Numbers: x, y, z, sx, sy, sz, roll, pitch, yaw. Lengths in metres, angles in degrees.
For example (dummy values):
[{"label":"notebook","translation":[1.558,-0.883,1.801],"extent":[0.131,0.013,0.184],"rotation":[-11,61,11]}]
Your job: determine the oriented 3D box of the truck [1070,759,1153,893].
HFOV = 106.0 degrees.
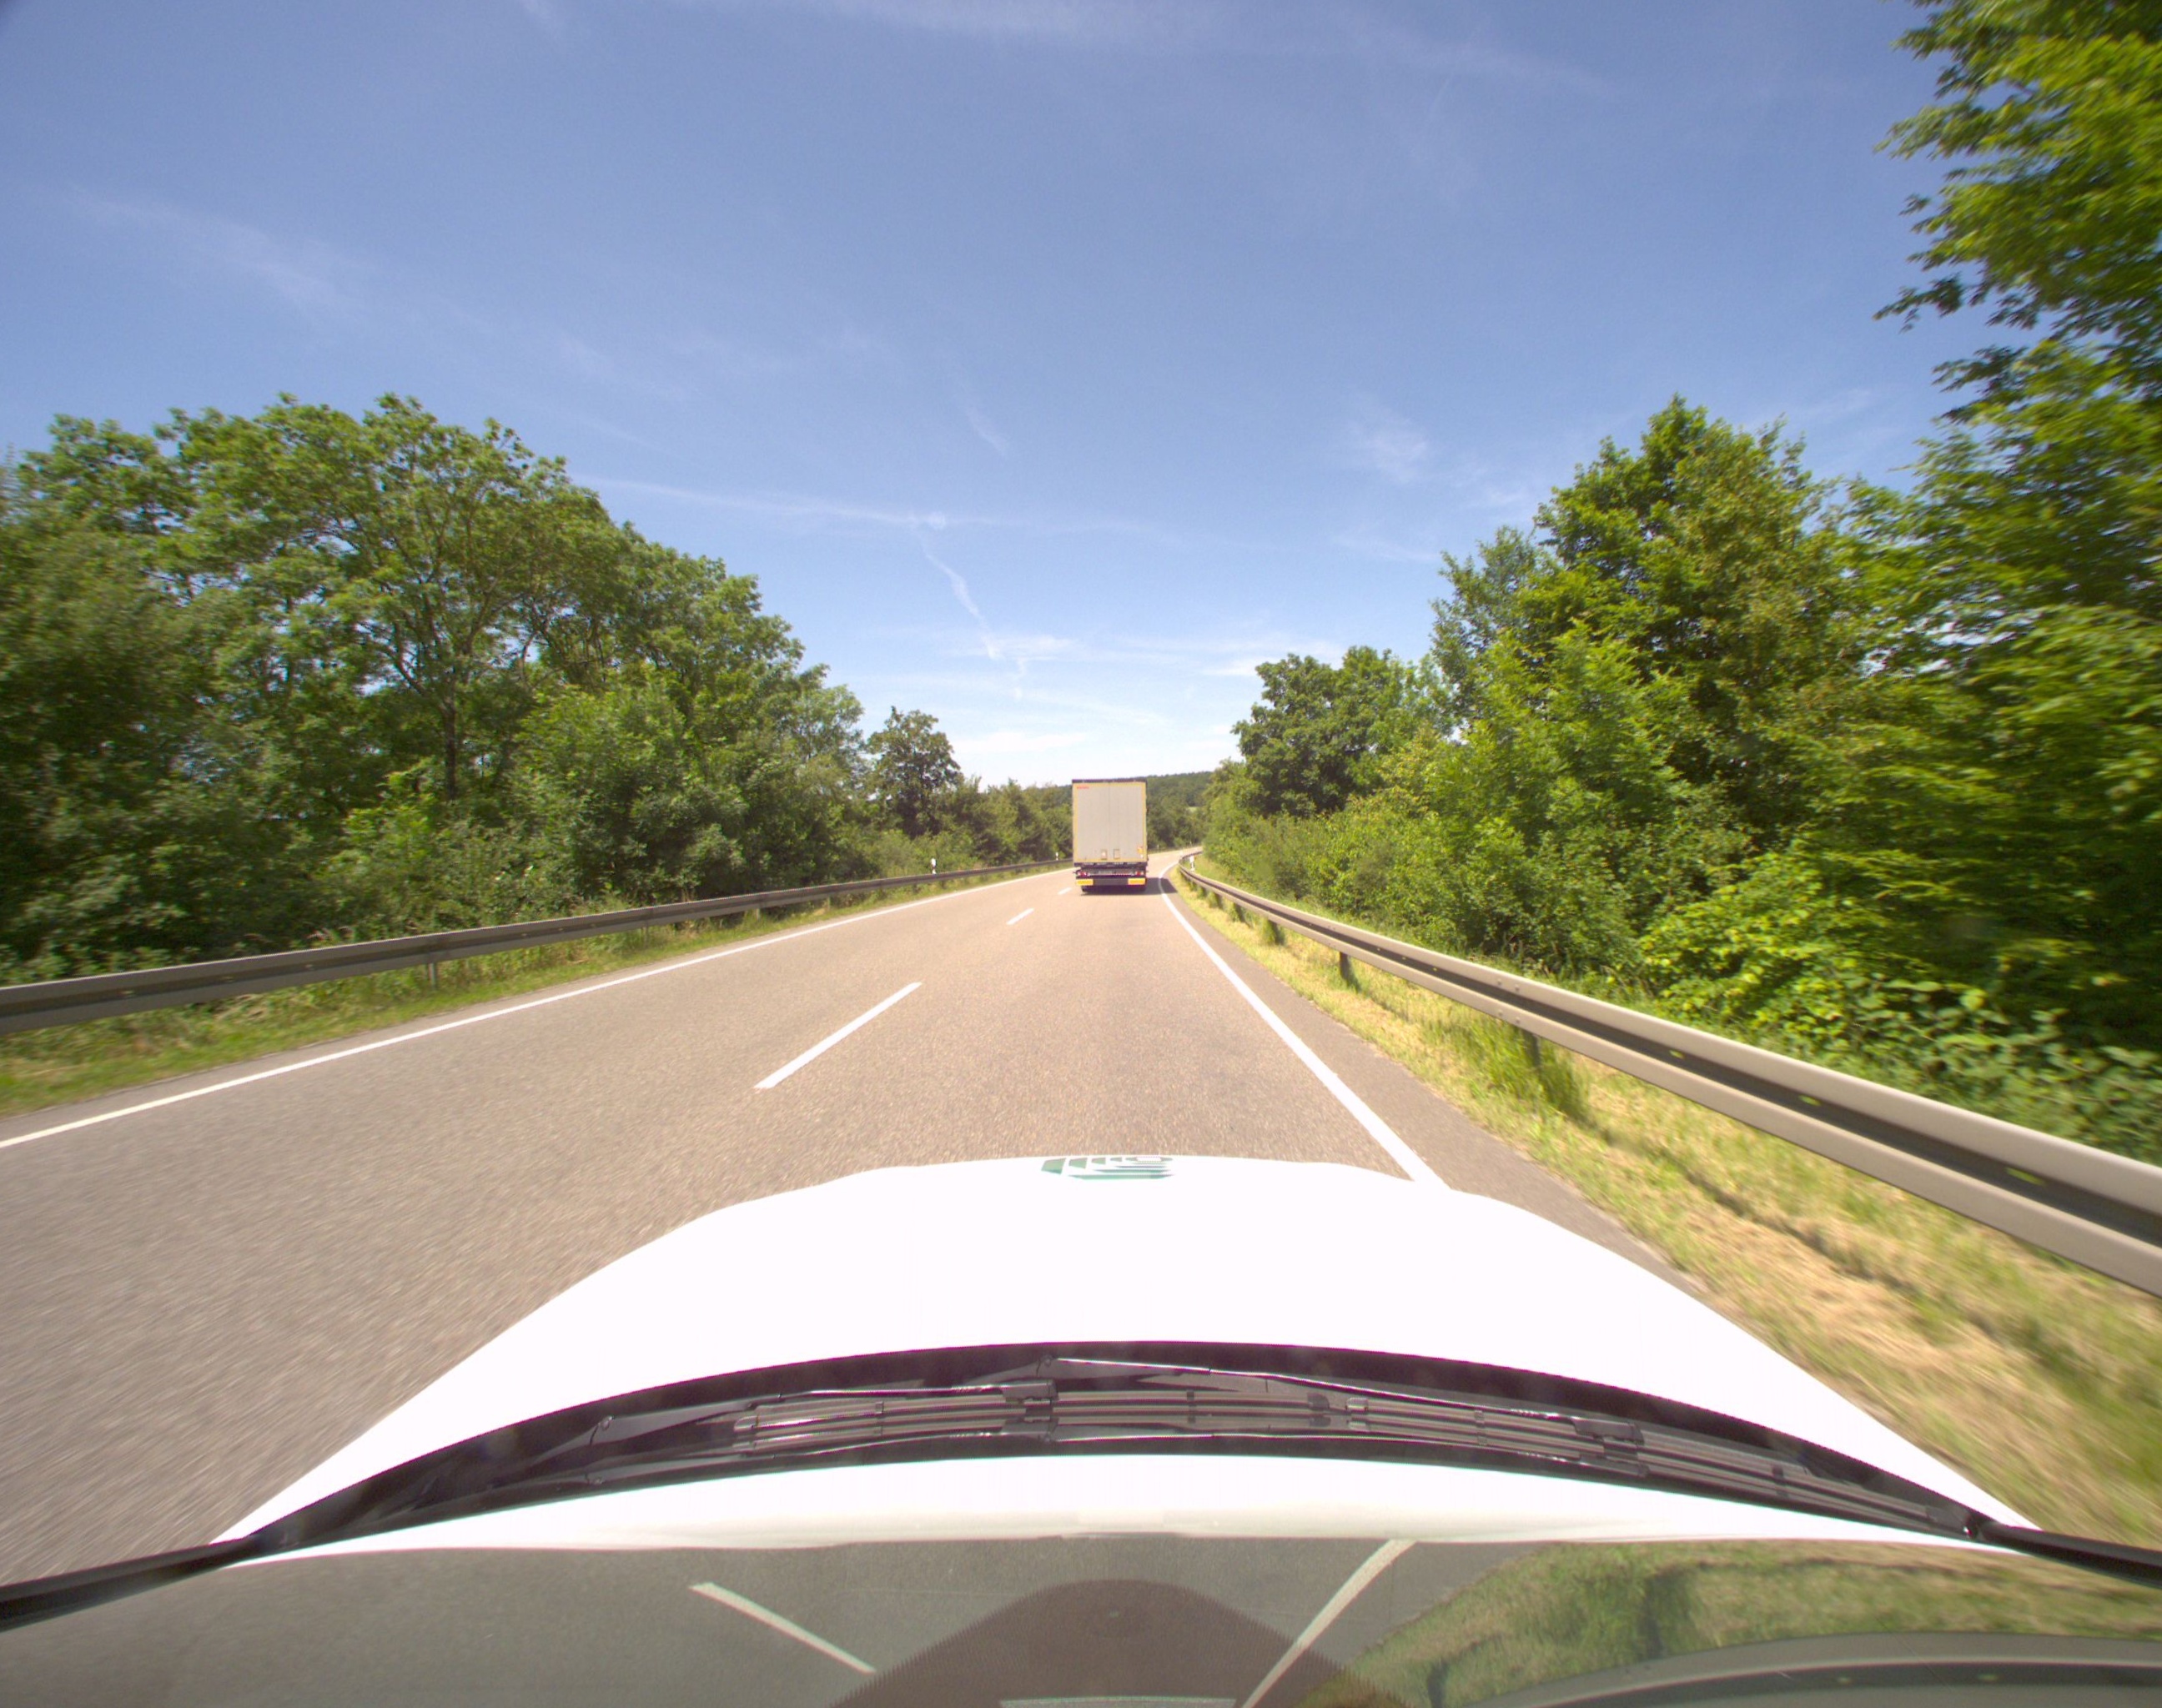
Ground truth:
[{"label":"truck","translation":[1.379,-0.966,33.446],"extent":[2.805,4.532,11.778],"rotation":[0,0,3]}]
